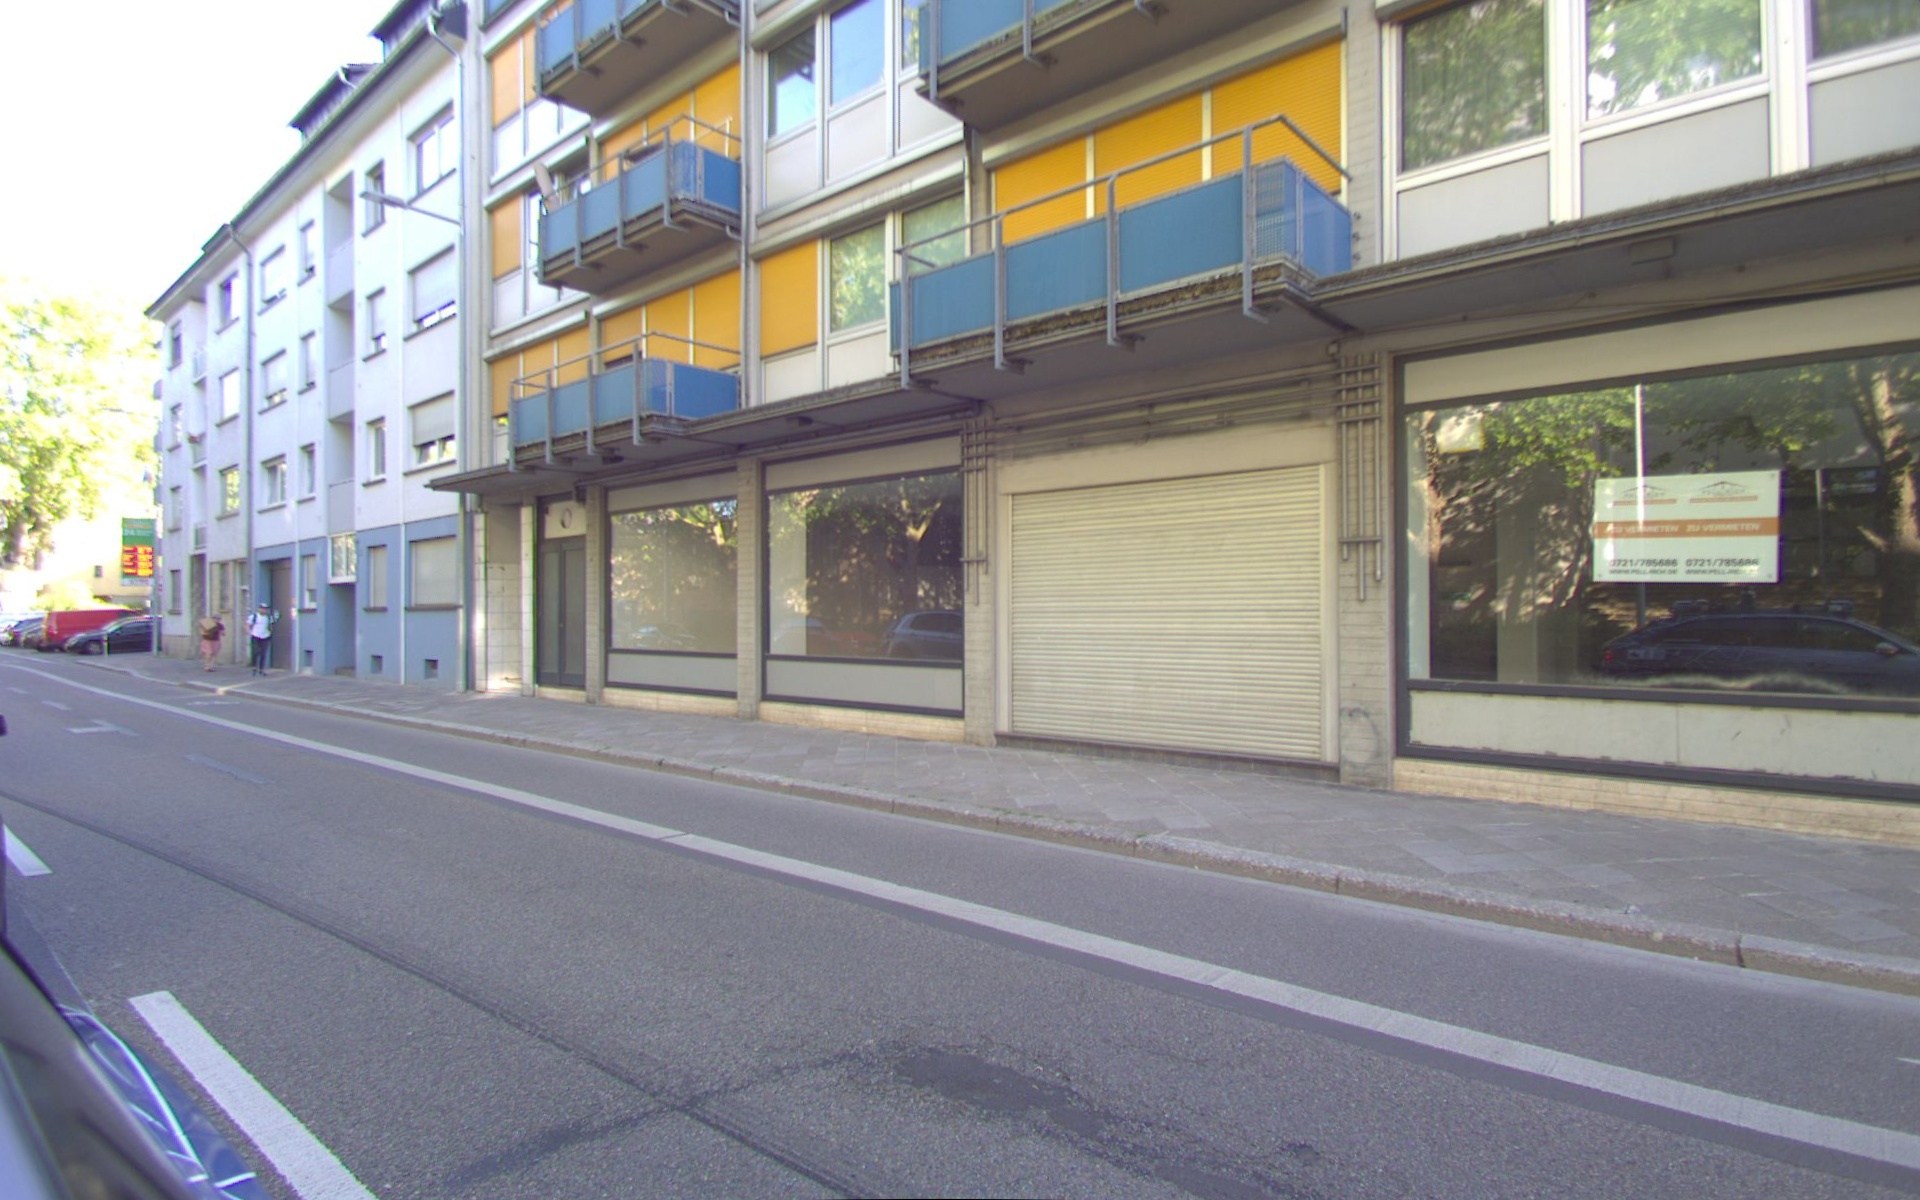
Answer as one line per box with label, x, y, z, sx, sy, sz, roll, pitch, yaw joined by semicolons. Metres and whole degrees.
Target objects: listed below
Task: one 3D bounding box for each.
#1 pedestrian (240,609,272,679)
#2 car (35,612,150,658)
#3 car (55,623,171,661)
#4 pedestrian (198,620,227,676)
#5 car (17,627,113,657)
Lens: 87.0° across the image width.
pedestrian;-17.761;1.101;25.534;0.343;1.739;0.562;-2;0;41
car;-40.559;1.594;47.364;1.635;1.937;3.878;-2;0;41
car;-36.666;1.781;43.858;1.635;1.422;3.623;-1;0;41
pedestrian;-21.015;1.351;28.452;0.343;1.529;0.562;-2;0;41
car;-42.950;2.011;48.619;1.294;1.258;3.283;-1;0;41
